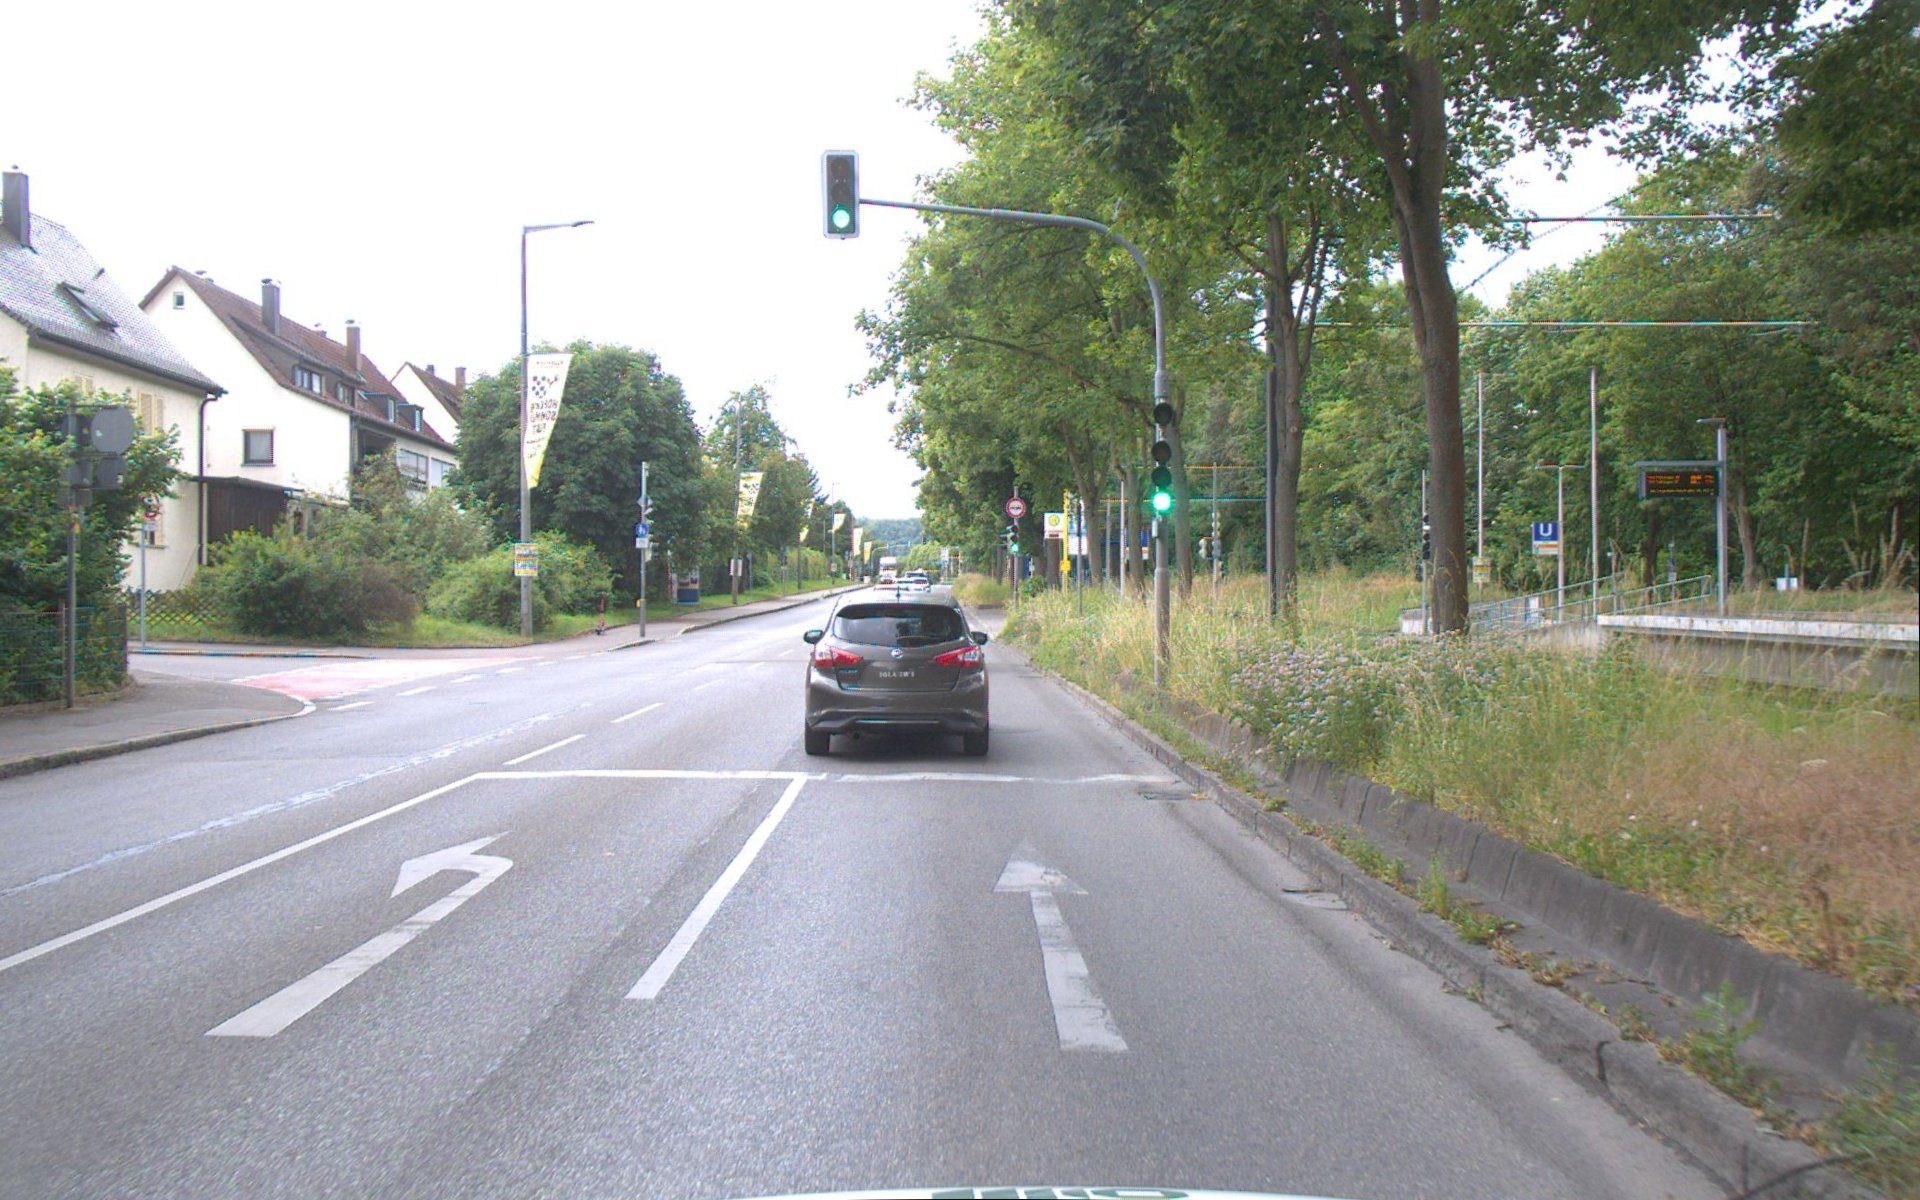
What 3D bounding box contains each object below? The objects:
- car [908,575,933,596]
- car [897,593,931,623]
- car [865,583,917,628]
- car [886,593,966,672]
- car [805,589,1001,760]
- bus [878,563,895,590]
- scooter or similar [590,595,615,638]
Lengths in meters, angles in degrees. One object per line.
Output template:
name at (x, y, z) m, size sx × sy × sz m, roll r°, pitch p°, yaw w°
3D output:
car at (-2.721, -0.997, 113.976) m, size 1.657 × 1.466 × 3.541 m, roll 0°, pitch 0°, yaw -1°
car at (-2.291, 0.394, 82.277) m, size 1.657 × 1.466 × 3.541 m, roll 0°, pitch 0°, yaw -1°
car at (-2.283, 0.169, 55.631) m, size 1.657 × 1.466 × 3.541 m, roll 0°, pitch 0°, yaw -1°
car at (-0.674, 0.603, 32.641) m, size 1.471 × 1.466 × 3.541 m, roll 0°, pitch 0°, yaw -1°
car at (-0.532, 0.667, 16.675) m, size 1.747 × 1.533 × 3.695 m, roll 0°, pitch 0°, yaw -1°
bus at (-11.068, -3.519, 249.837) m, size 2.437 × 4.096 × 10.215 m, roll 0°, pitch 1°, yaw -1°
scooter or similar at (-10.884, 0.492, 50.353) m, size 0.453 × 1.281 × 1.426 m, roll 0°, pitch 0°, yaw 0°
